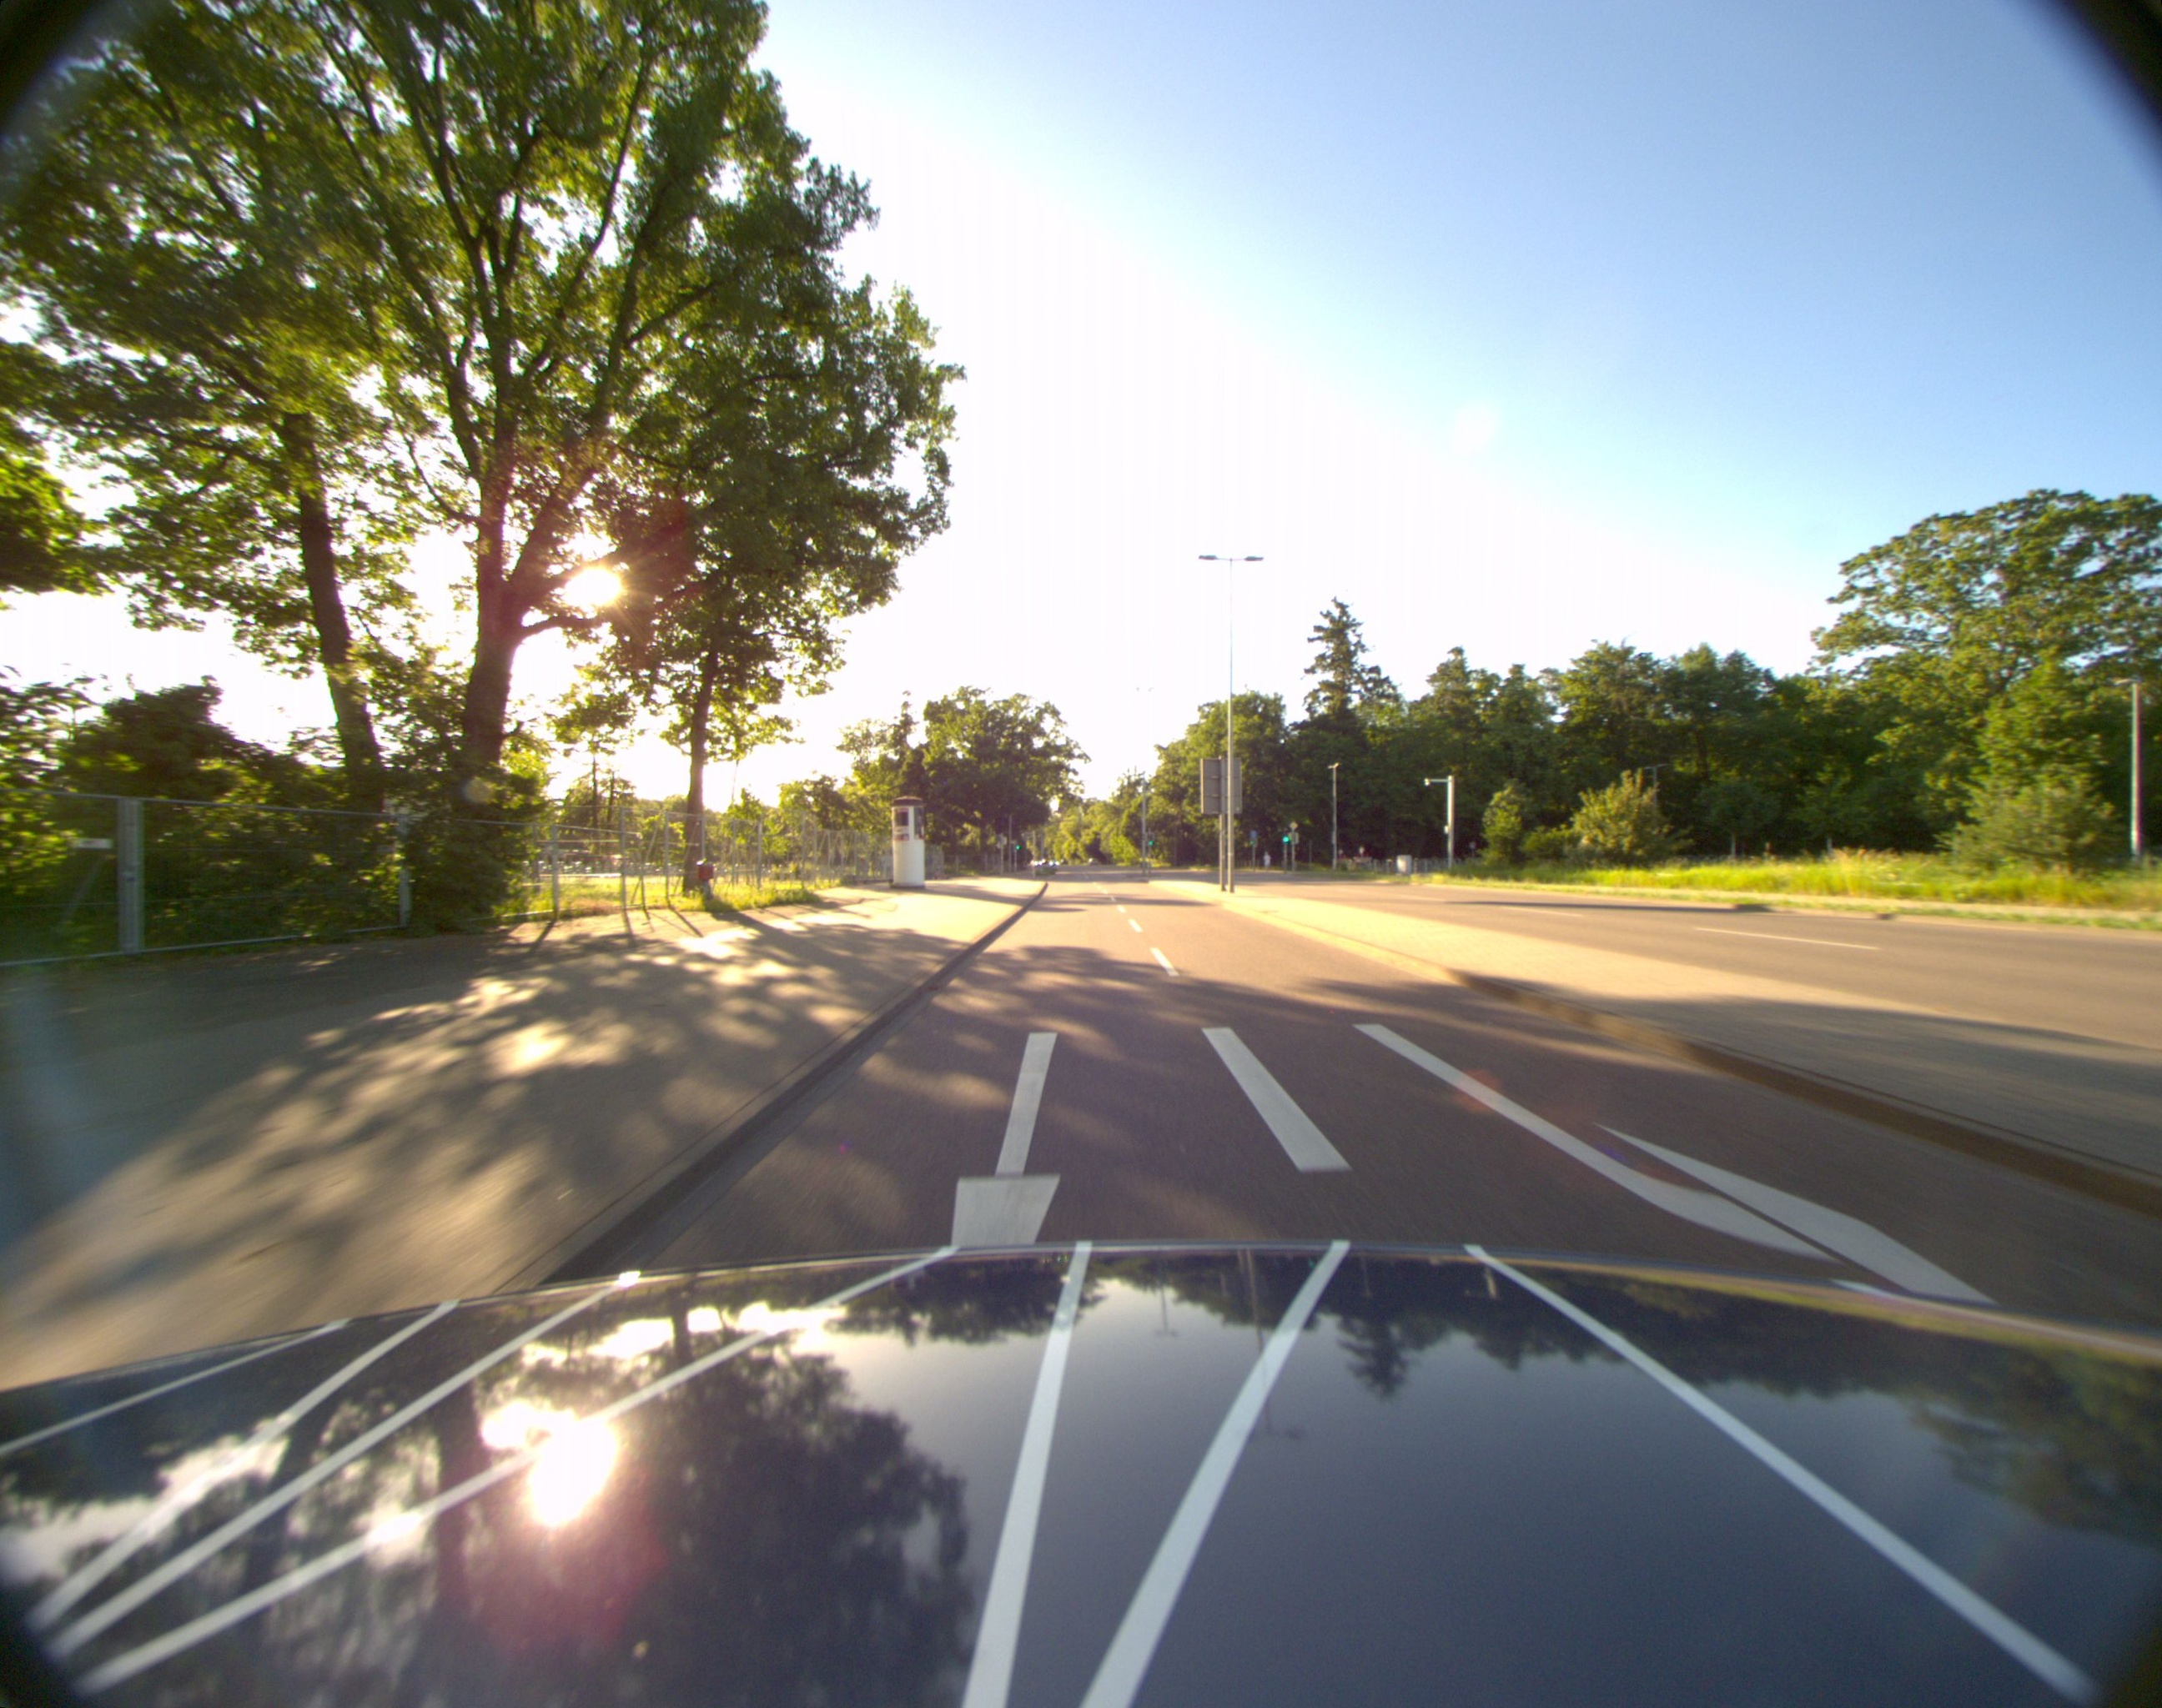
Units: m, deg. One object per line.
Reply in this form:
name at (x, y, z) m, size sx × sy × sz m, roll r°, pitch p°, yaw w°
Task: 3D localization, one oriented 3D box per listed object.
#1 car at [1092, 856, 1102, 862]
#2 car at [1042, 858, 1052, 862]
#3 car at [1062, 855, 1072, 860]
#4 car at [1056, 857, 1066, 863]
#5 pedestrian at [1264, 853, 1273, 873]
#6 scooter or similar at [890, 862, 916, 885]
car at (3.580, 1.053, 166.376) m, size 1.619 × 1.346 × 4.007 m, roll 0°, pitch 0°, yaw -7°
car at (-10.800, 1.847, 241.675) m, size 2.135 × 1.346 × 4.403 m, roll 0°, pitch 0°, yaw -21°
car at (-4.005, 1.045, 211.300) m, size 1.876 × 1.346 × 4.004 m, roll 0°, pitch 0°, yaw -16°
car at (-5.062, 1.497, 187.389) m, size 1.842 × 1.395 × 3.996 m, roll -2°, pitch 0°, yaw -10°
pedestrian at (17.281, 0.826, 70.117) m, size 0.691 × 1.764 × 0.734 m, roll 0°, pitch 0°, yaw 3°
scooter or similar at (-9.499, 1.045, 40.536) m, size 1.303 × 1.230 × 0.334 m, roll 0°, pitch 0°, yaw -34°
